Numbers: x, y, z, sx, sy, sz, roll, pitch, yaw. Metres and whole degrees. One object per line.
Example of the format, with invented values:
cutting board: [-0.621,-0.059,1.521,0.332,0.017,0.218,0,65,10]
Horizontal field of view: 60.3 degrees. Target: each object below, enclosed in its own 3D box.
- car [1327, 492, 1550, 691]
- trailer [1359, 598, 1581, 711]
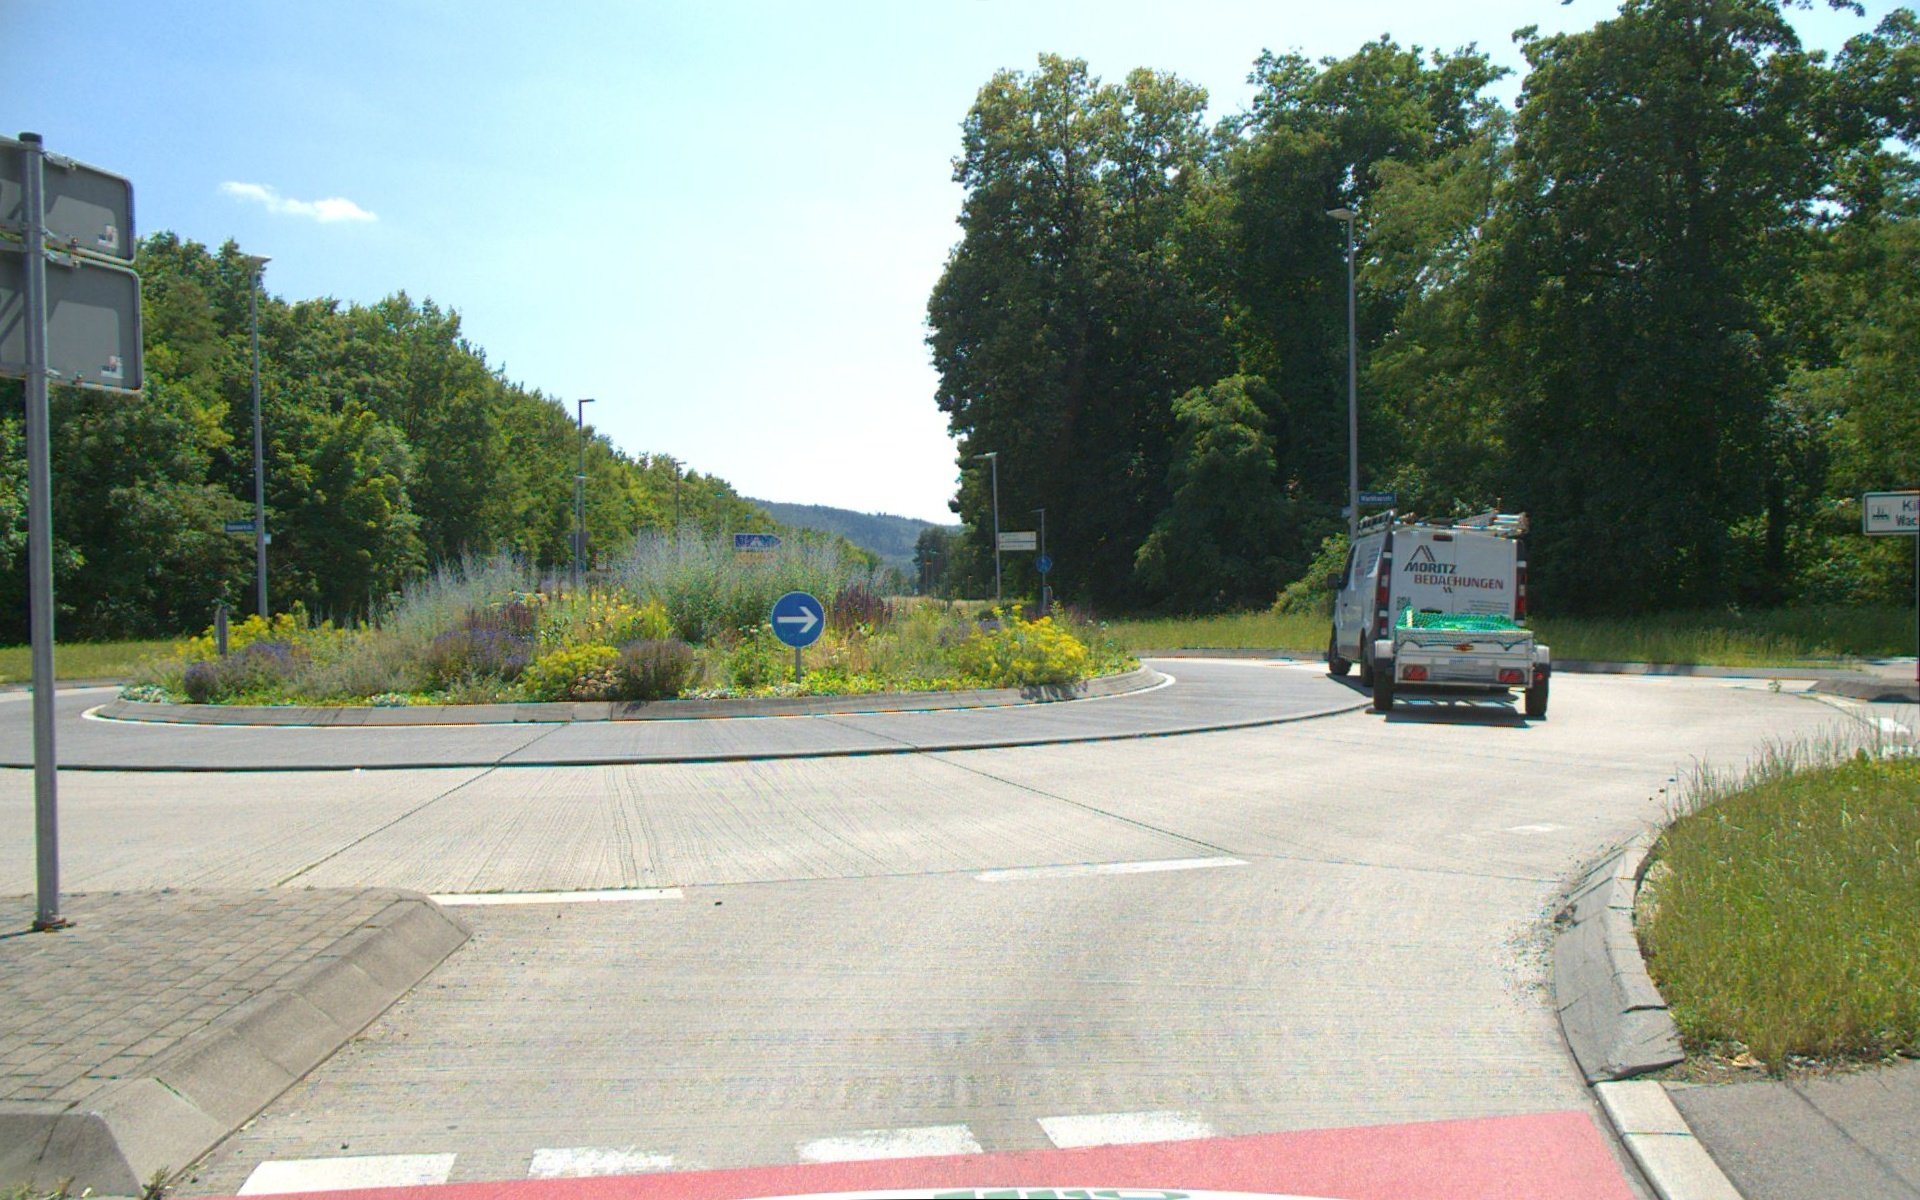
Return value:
car: [6.225,-0.090,22.144,2.120,2.357,4.985,0,0,7]
trailer: [5.464,0.543,18.120,2.076,1.116,3.357,0,0,13]
